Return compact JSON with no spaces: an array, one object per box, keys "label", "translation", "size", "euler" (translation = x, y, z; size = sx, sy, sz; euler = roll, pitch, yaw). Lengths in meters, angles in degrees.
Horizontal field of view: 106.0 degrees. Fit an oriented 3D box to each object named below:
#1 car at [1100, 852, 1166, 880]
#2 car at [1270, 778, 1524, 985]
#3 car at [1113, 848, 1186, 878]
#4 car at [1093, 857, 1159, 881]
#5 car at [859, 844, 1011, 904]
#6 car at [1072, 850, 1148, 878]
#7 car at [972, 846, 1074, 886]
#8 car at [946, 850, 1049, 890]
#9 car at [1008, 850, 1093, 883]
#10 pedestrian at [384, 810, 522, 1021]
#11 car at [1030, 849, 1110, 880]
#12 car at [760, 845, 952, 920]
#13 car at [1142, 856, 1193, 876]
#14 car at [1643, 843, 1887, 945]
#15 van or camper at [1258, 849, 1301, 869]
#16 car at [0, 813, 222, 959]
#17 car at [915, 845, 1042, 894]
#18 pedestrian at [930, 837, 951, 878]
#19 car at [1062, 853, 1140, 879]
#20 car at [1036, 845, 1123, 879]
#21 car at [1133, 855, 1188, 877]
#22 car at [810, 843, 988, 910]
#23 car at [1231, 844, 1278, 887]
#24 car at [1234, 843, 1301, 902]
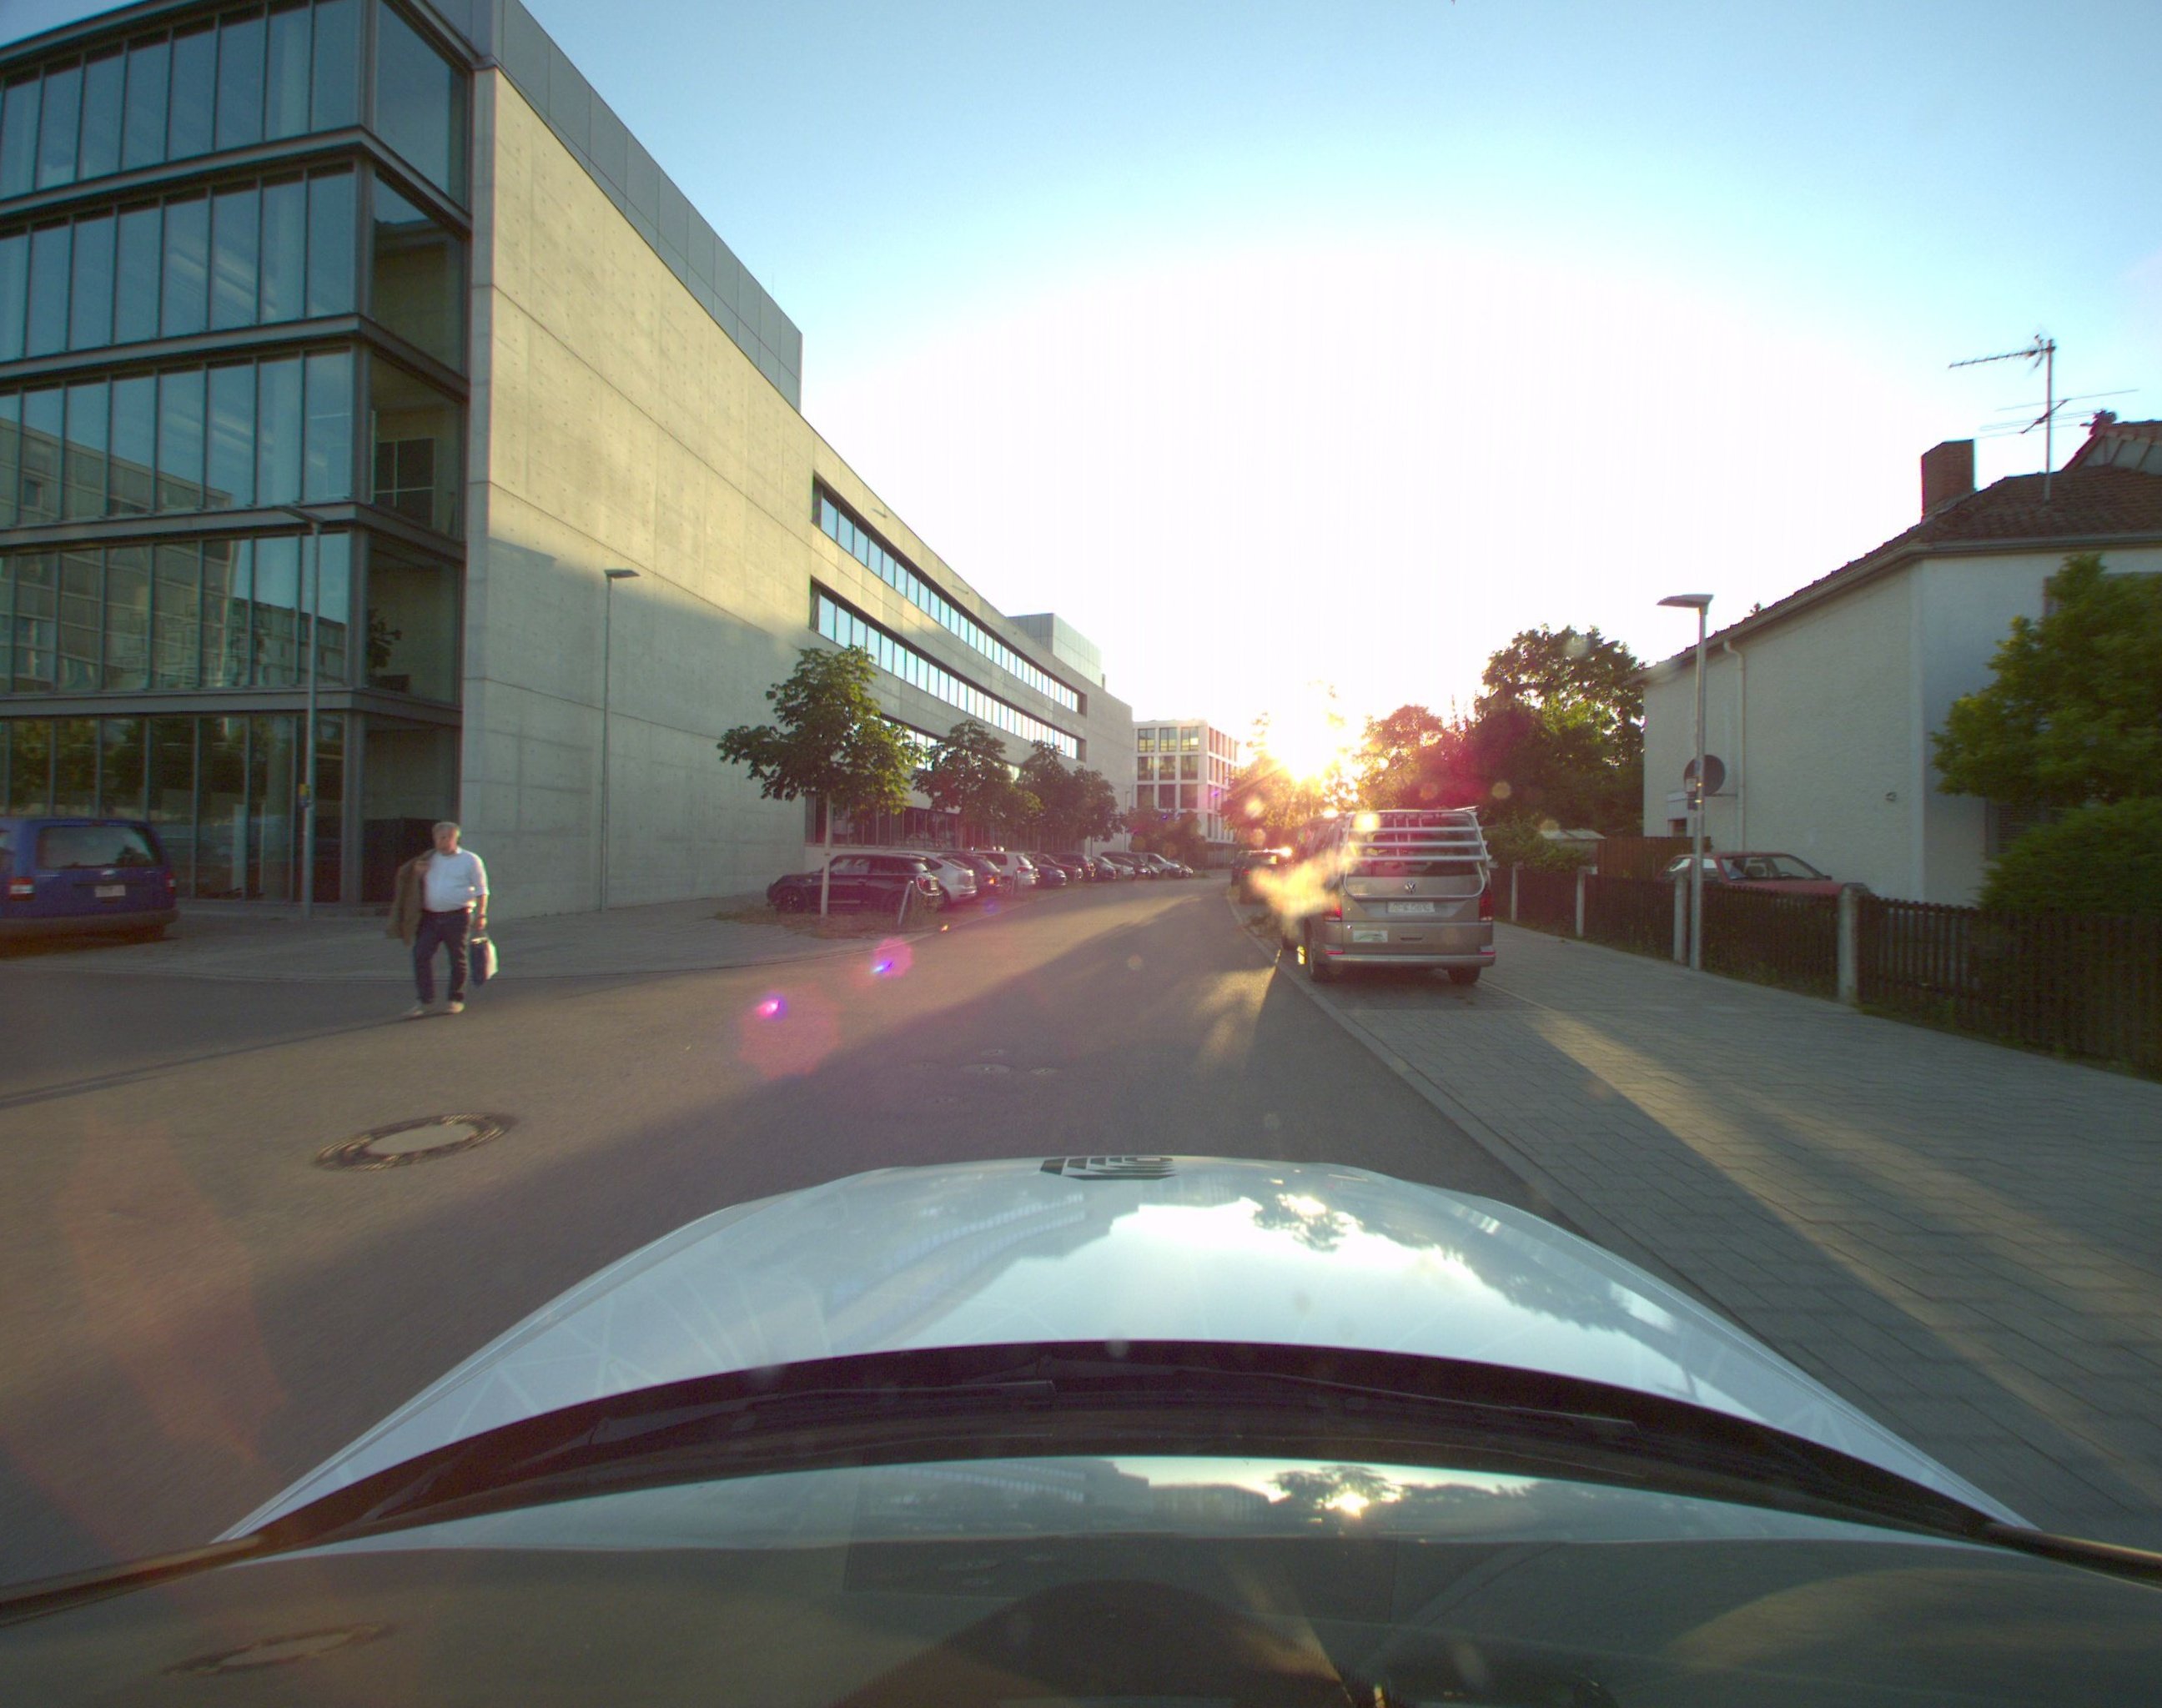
[{"label":"car","translation":[3.640,0.855,56.895],"size":[4.214,1.742,1.732],"euler":[3,-1,17]},{"label":"car","translation":[3.794,0.269,10.805],"size":[2.054,2.095,4.883],"euler":[0,0,7]},{"label":"car","translation":[5.161,0.651,61.071],"size":[5.036,1.946,1.897],"euler":[3,-1,18]},{"label":"car","translation":[3.066,1.007,54.975],"size":[4.112,1.404,1.732],"euler":[3,0,17]},{"label":"car","translation":[-4.127,0.549,23.338],"size":[3.979,1.512,1.587],"euler":[2,1,4]},{"label":"car","translation":[1.828,0.632,51.393],"size":[4.361,1.499,1.772],"euler":[3,0,20]},{"label":"car","translation":[-2.373,0.485,33.781],"size":[3.845,1.511,1.765],"euler":[2,0,11]},{"label":"car","translation":[-3.147,0.590,31.156],"size":[3.614,1.361,1.689],"euler":[2,0,6]},{"label":"car","translation":[-1.435,0.571,38.828],"size":[3.678,1.458,1.717],"euler":[1,-1,11]},{"label":"pedestrian","translation":[-5.999,0.534,7.787],"size":[0.845,1.850,0.908],"euler":[0,0,42]},{"label":"car","translation":[-0.515,0.504,40.872],"size":[3.676,1.458,1.685],"euler":[1,-1,13]},{"label":"car","translation":[-4.982,0.587,18.327],"size":[3.717,1.482,1.772],"euler":[2,1,5]},{"label":"car","translation":[7.035,0.951,66.186],"size":[3.855,1.488,1.659],"euler":[2,0,19]},{"label":"car","translation":[10.965,0.557,13.397],"size":[1.518,1.444,3.651],"euler":[0,0,11]},{"label":"van or camper","translation":[27.138,0.667,111.340],"size":[5.403,2.484,1.785],"euler":[2,1,25]},{"label":"car","translation":[-14.860,0.348,11.410],"size":[4.062,1.831,1.852],"euler":[1,2,9]},{"label":"car","translation":[-3.513,0.503,28.166],"size":[3.963,1.511,1.764],"euler":[2,0,9]},{"label":"pedestrian","translation":[-6.183,0.142,35.837],"size":[0.641,1.784,0.727],"euler":[2,0,11]},{"label":"car","translation":[1.238,0.679,49.246],"size":[4.399,1.464,1.771],"euler":[1,0,16]},{"label":"car","translation":[-0.065,0.421,43.484],"size":[4.279,1.696,1.903],"euler":[1,-1,13]},{"label":"car","translation":[6.300,0.963,64.376],"size":[3.956,1.522,1.612],"euler":[3,0,17]},{"label":"car","translation":[-4.625,0.544,21.053],"size":[4.067,1.528,1.848],"euler":[2,0,4]},{"label":"car","translation":[6.866,0.399,32.026],"size":[1.699,1.550,4.564],"euler":[0,0,13]},{"label":"car","translation":[5.314,0.479,23.448],"size":[1.729,1.552,3.651],"euler":[0,0,11]}]
